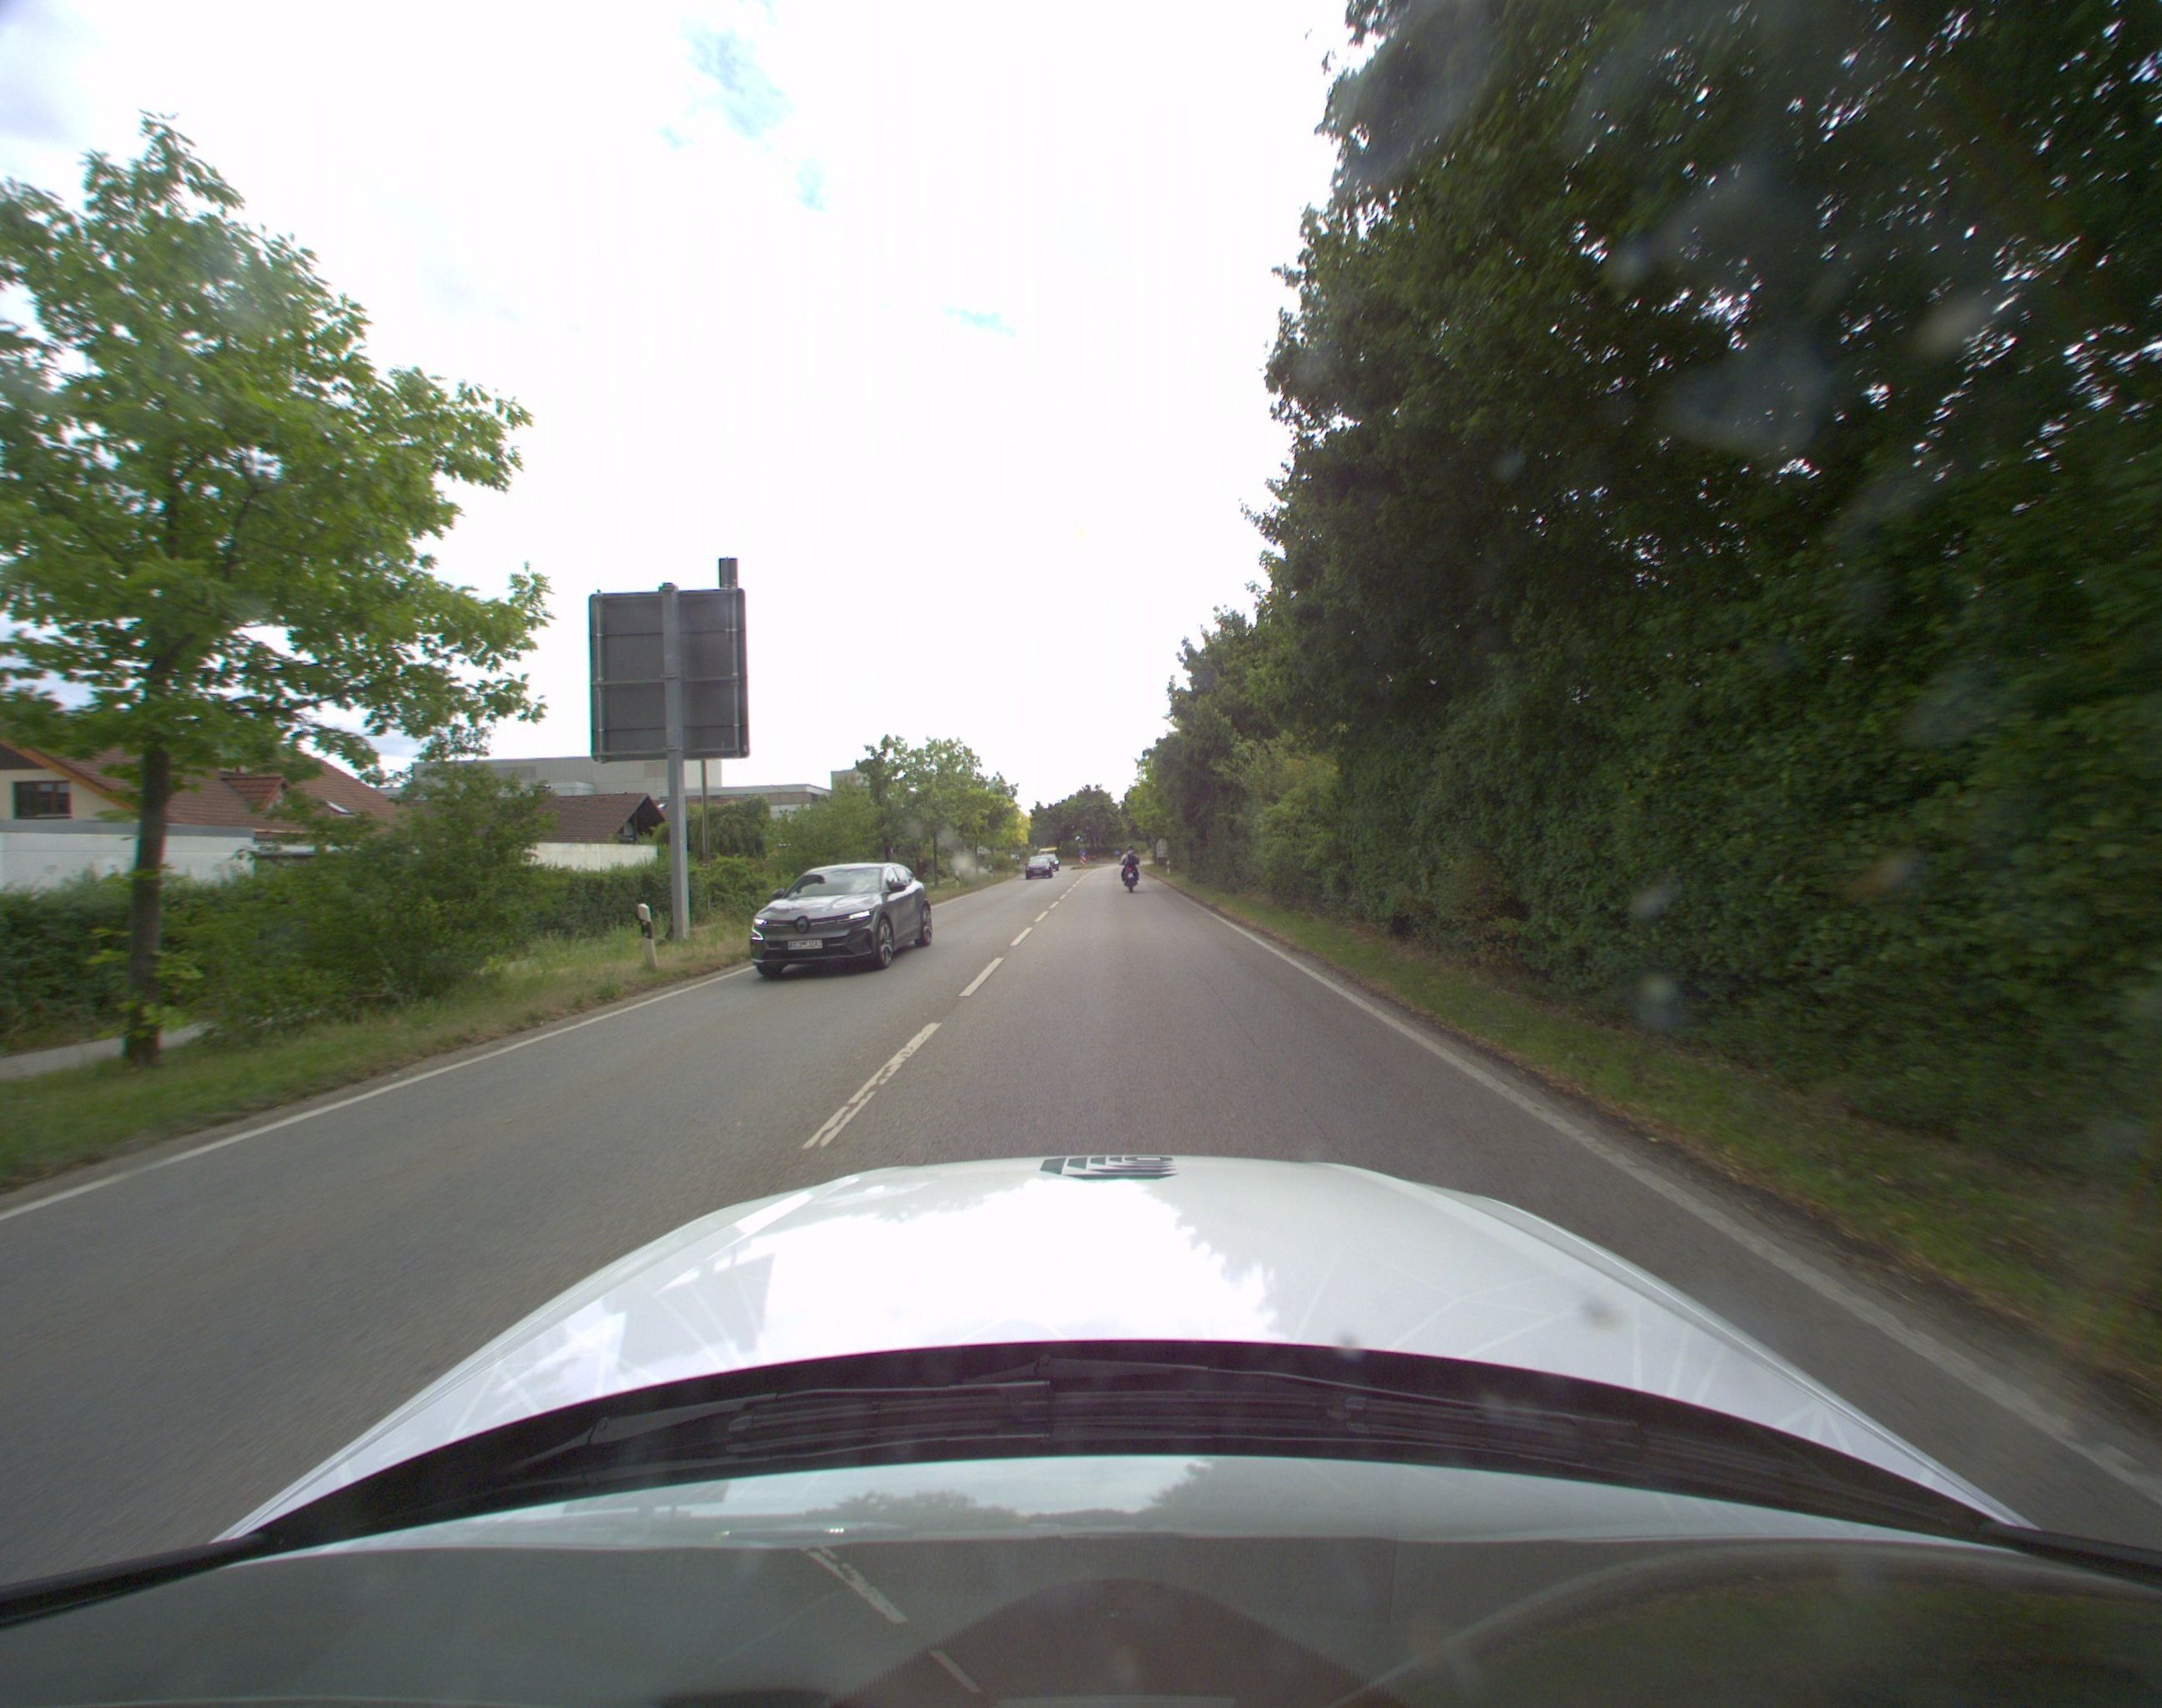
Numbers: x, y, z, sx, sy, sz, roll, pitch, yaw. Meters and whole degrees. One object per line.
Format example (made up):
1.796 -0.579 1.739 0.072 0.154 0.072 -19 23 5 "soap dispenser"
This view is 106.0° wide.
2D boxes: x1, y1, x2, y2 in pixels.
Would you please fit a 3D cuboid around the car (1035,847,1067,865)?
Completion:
-4.476 0.297 123.710 2.141 2.452 5.477 -3 1 30 "car"

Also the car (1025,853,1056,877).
-2.618 0.698 53.218 1.671 1.411 4.012 -4 0 0 "car"

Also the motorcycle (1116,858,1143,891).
1.807 0.756 30.915 0.893 1.158 2.621 -2 0 1 "motorcycle"

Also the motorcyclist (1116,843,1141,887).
1.798 0.399 31.038 0.858 1.623 1.191 -2 0 1 "motorcyclist"

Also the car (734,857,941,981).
-3.562 0.860 12.791 1.809 1.494 4.205 -3 0 1 "car"

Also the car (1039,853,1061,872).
-2.767 0.731 73.599 1.728 1.534 4.094 -4 0 -1 "car"
